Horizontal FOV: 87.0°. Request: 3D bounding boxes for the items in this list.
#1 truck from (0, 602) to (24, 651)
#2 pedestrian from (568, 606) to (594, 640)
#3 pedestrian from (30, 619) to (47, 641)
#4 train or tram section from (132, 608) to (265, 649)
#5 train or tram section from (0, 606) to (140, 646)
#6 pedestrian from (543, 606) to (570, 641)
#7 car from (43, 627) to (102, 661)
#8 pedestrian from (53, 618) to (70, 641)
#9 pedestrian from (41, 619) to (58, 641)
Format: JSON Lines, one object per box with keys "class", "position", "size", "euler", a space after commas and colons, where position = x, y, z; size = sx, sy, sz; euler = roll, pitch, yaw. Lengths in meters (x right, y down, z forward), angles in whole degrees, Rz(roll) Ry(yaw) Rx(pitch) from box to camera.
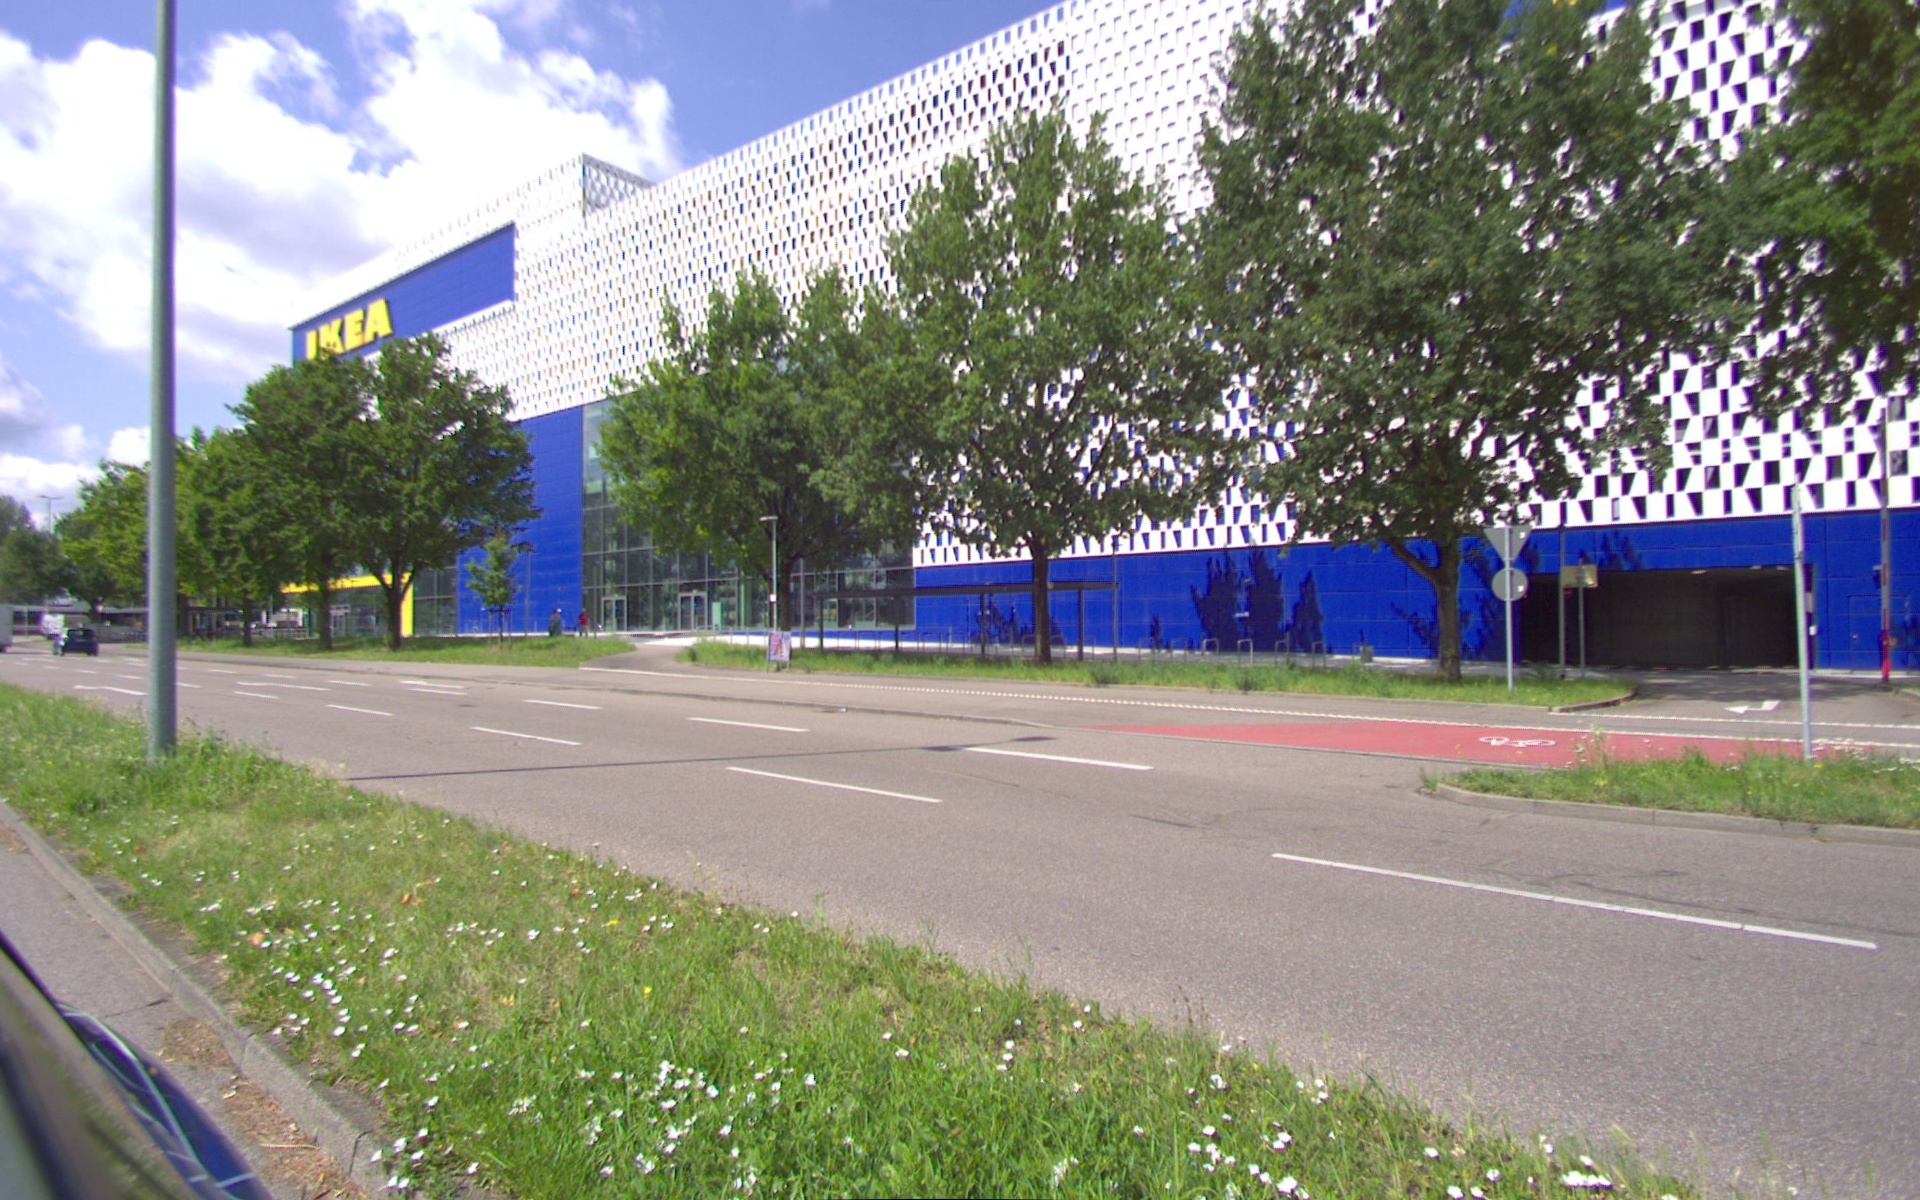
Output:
{"class": "truck", "position": [-56.456, 1.538, 58.305], "size": [5.777, 2.773, 2.936], "euler": [-1, 0, 39]}
{"class": "pedestrian", "position": [-19.491, 1.169, 52.021], "size": [1.165, 1.741, 0.842], "euler": [-1, 0, 43]}
{"class": "pedestrian", "position": [-88.356, 2.867, 97.042], "size": [0.807, 2.110, 1.041], "euler": [-1, 0, -8]}
{"class": "train or tram section", "position": [-95.900, 3.462, 127.757], "size": [3.727, 4.708, 12.938], "euler": [-1, 0, 38]}
{"class": "train or tram section", "position": [-103.860, 3.050, 117.517], "size": [3.727, 4.404, 12.937], "euler": [-1, -2, 38]}
{"class": "pedestrian", "position": [-20.383, 1.161, 51.101], "size": [1.165, 1.741, 0.842], "euler": [-1, 0, 43]}
{"class": "car", "position": [-48.725, 2.382, 55.535], "size": [3.998, 1.696, 1.916], "euler": [-1, 0, 41]}
{"class": "pedestrian", "position": [-86.425, 2.841, 97.358], "size": [0.807, 2.110, 1.041], "euler": [-1, 0, -8]}
{"class": "pedestrian", "position": [-87.412, 2.854, 97.180], "size": [0.807, 2.110, 1.041], "euler": [-1, 0, -8]}
